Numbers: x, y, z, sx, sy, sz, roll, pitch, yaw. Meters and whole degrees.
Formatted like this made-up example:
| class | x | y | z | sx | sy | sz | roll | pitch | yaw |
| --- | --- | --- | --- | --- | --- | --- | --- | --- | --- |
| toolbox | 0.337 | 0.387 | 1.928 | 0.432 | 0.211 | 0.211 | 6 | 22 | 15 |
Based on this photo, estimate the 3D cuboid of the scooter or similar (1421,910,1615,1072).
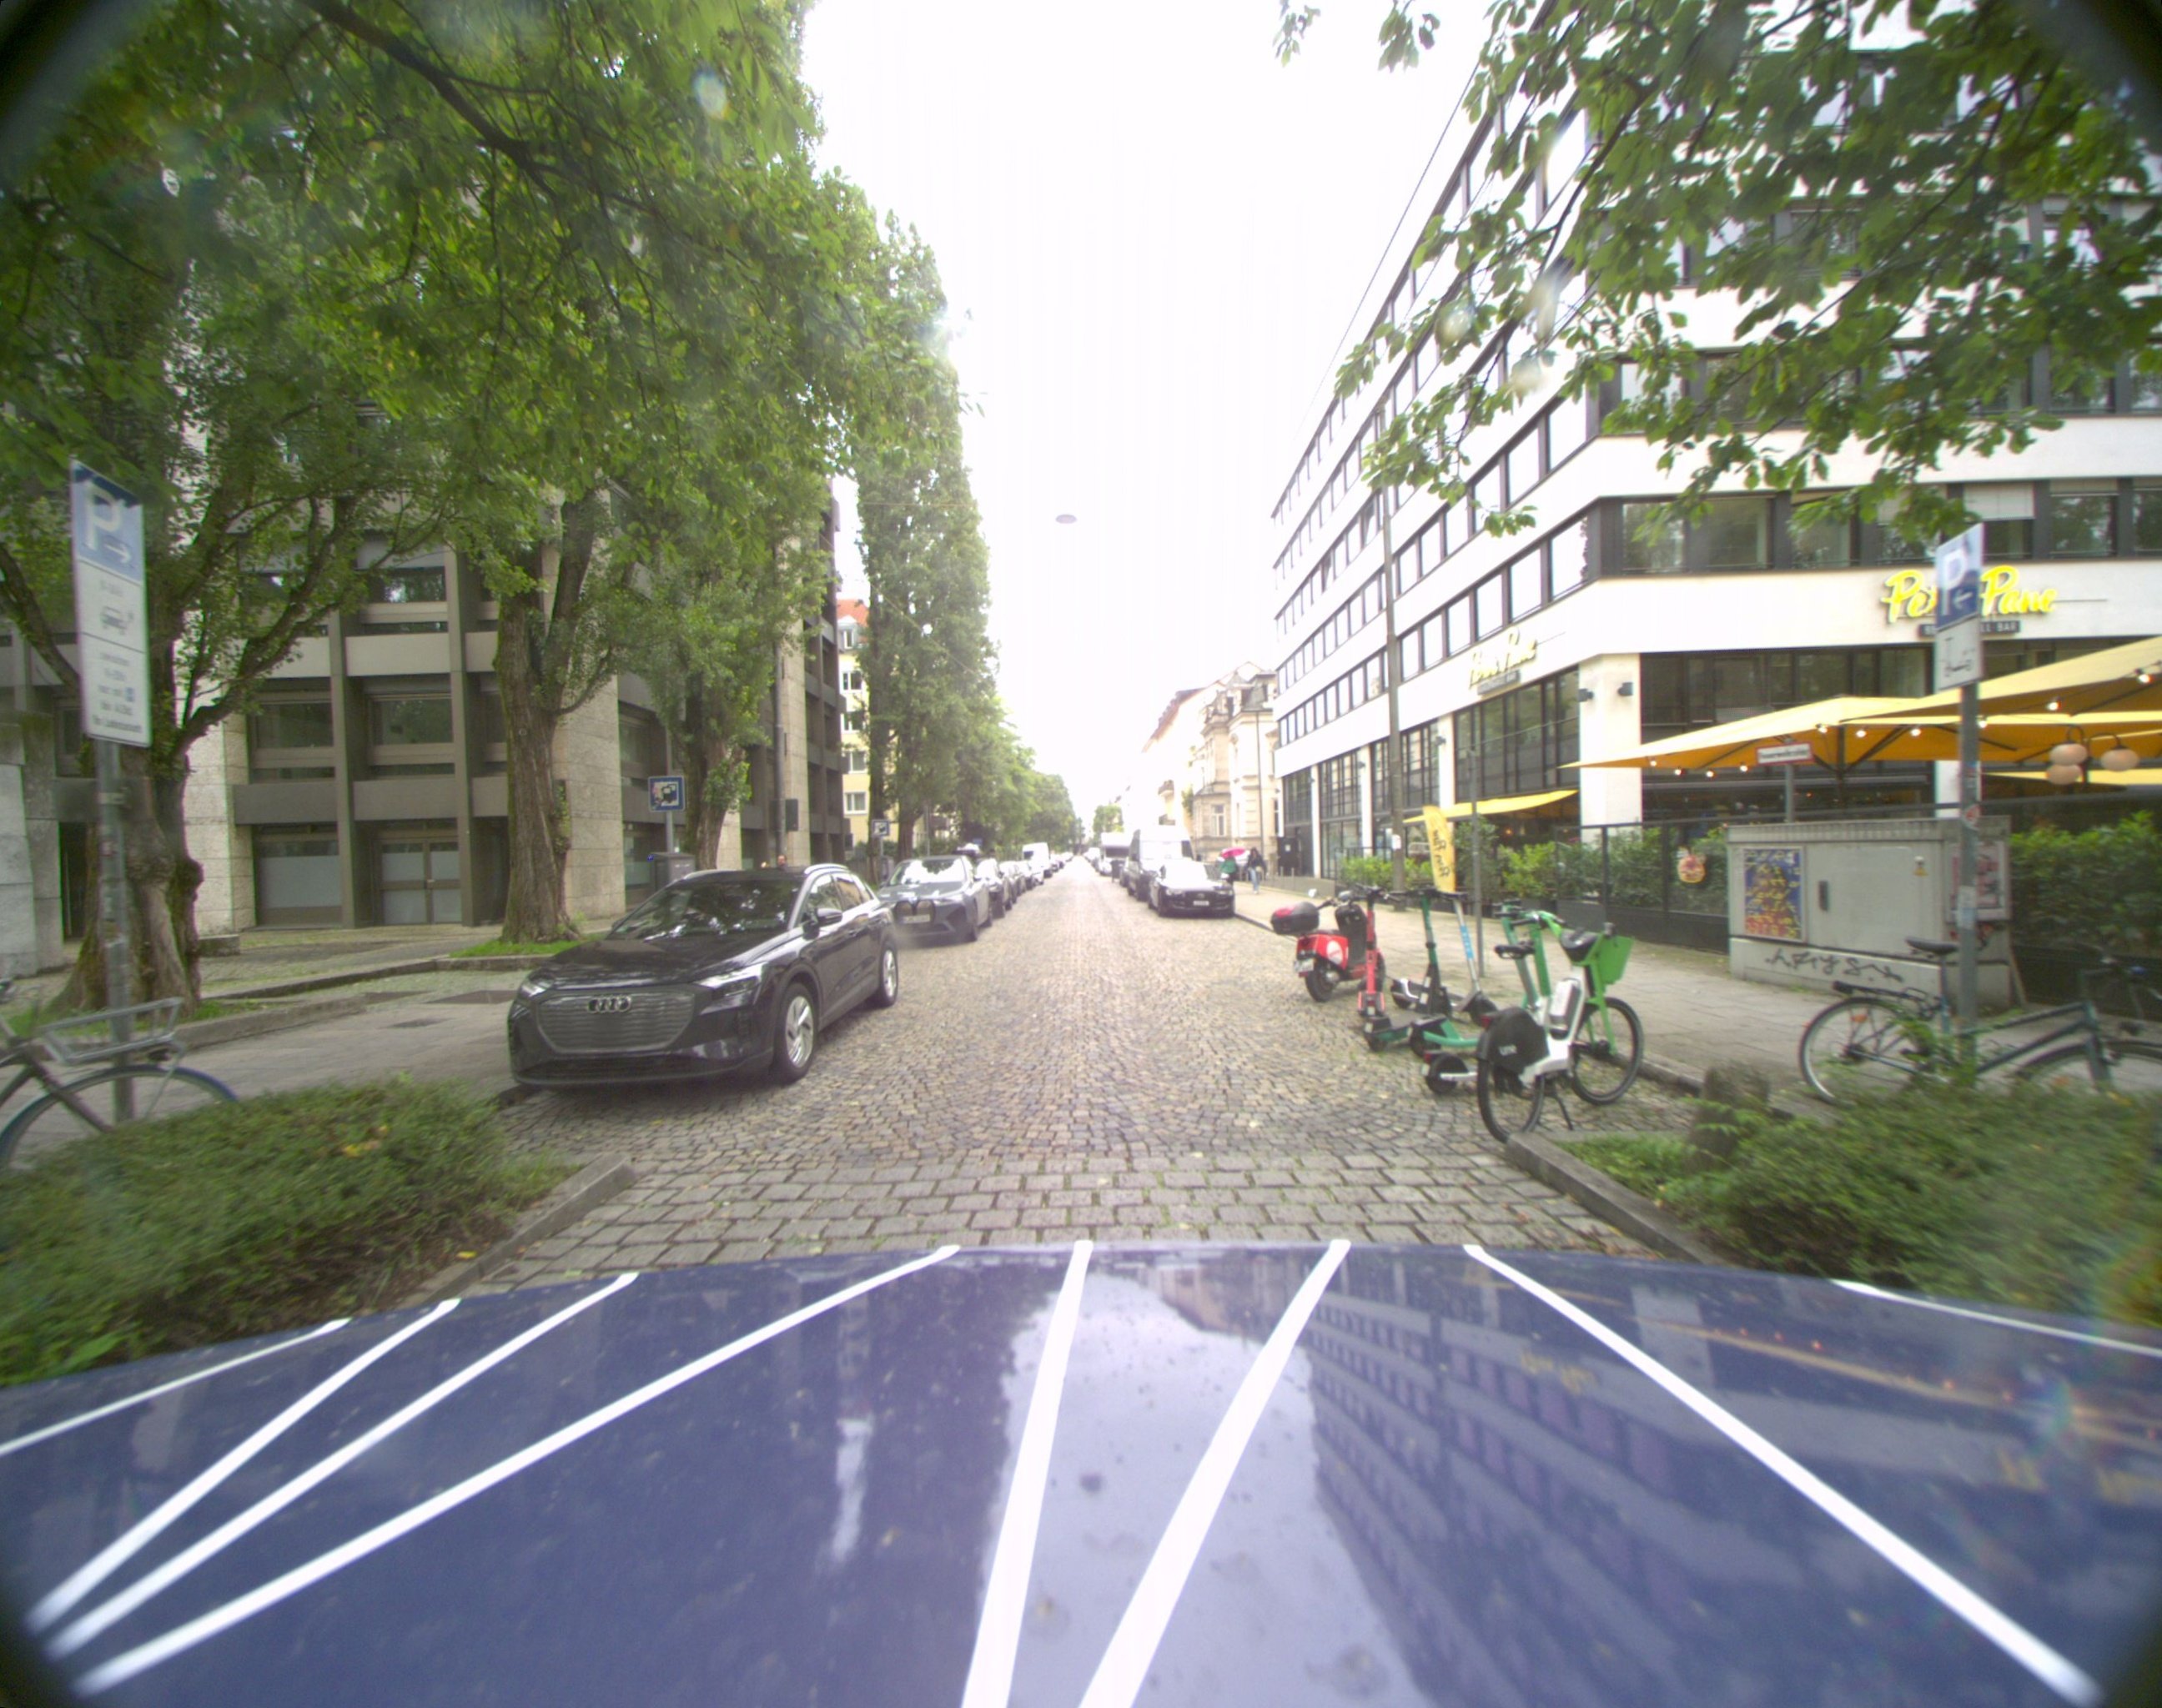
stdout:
| class | x | y | z | sx | sy | sz | roll | pitch | yaw |
| --- | --- | --- | --- | --- | --- | --- | --- | --- | --- |
| scooter or similar | 3.293 | 1.022 | 5.758 | 1.250 | 1.137 | 0.327 | -2 | 1 | 1 |

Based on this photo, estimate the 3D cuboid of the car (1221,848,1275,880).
| class | x | y | z | sx | sy | sz | roll | pitch | yaw |
| --- | --- | --- | --- | --- | --- | --- | --- | --- | --- |
| car | 8.731 | 0.494 | 40.022 | 1.912 | 1.524 | 4.169 | -2 | 0 | 1 |

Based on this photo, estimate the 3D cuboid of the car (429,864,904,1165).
| class | x | y | z | sx | sy | sz | roll | pitch | yaw |
| --- | --- | --- | --- | --- | --- | --- | --- | --- | --- |
| car | -3.048 | 1.021 | 6.810 | 1.925 | 1.690 | 4.200 | -3 | 1 | -1 |

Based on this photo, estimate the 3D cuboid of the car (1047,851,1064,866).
| class | x | y | z | sx | sy | sz | roll | pitch | yaw |
| --- | --- | --- | --- | --- | --- | --- | --- | --- | --- |
| car | -3.151 | 0.568 | 94.406 | 1.999 | 1.680 | 3.872 | -3 | 1 | -2 |

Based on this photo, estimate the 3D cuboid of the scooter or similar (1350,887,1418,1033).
| class | x | y | z | sx | sy | sz | roll | pitch | yaw |
| --- | --- | --- | --- | --- | --- | --- | --- | --- | --- |
| scooter or similar | 3.088 | 1.011 | 7.682 | 0.326 | 1.265 | 1.360 | -1 | 1 | 35 |

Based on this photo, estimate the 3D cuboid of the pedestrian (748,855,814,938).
| class | x | y | z | sx | sy | sz | roll | pitch | yaw |
| --- | --- | --- | --- | --- | --- | --- | --- | --- | --- |
| pedestrian | -6.439 | 0.897 | 16.332 | 0.867 | 1.704 | 0.913 | -1 | 1 | 20 |

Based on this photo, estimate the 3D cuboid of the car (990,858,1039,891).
| class | x | y | z | sx | sy | sz | roll | pitch | yaw |
| --- | --- | --- | --- | --- | --- | --- | --- | --- | --- |
| car | -3.199 | 0.963 | 37.367 | 1.999 | 1.380 | 3.873 | -3 | 1 | 0 |

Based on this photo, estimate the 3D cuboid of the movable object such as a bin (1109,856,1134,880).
| class | x | y | z | sx | sy | sz | roll | pitch | yaw |
| --- | --- | --- | --- | --- | --- | --- | --- | --- | --- |
| movable object such as a bin | 2.276 | 0.782 | 43.264 | 1.255 | 1.290 | 1.174 | -1 | 1 | -4 |

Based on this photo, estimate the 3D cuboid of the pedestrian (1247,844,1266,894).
| class | x | y | z | sx | sy | sz | roll | pitch | yaw |
| --- | --- | --- | --- | --- | --- | --- | --- | --- | --- |
| pedestrian | 6.260 | 0.537 | 27.105 | 0.575 | 1.738 | 0.651 | -2 | 1 | 7 |

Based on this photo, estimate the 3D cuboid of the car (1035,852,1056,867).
| class | x | y | z | sx | sy | sz | roll | pitch | yaw |
| --- | --- | --- | --- | --- | --- | --- | --- | --- | --- |
| car | -3.436 | 0.512 | 73.847 | 1.999 | 1.380 | 3.872 | -3 | 1 | -2 |

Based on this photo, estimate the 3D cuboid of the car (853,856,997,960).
| class | x | y | z | sx | sy | sz | roll | pitch | yaw |
| --- | --- | --- | --- | --- | --- | --- | --- | --- | --- |
| car | -2.991 | 0.948 | 15.666 | 2.018 | 1.690 | 4.672 | -3 | 1 | -1 |

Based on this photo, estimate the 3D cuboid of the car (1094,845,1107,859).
| class | x | y | z | sx | sy | sz | roll | pitch | yaw |
| --- | --- | --- | --- | --- | --- | --- | --- | --- | --- |
| car | 3.647 | -0.377 | 142.237 | 2.088 | 2.418 | 5.609 | -2 | 0 | -1 |

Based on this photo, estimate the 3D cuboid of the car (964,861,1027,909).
| class | x | y | z | sx | sy | sz | roll | pitch | yaw |
| --- | --- | --- | --- | --- | --- | --- | --- | --- | --- |
| car | -3.030 | 1.062 | 27.766 | 1.723 | 1.382 | 4.205 | -5 | 1 | 0 |

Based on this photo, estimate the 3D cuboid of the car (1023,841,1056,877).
| class | x | y | z | sx | sy | sz | roll | pitch | yaw |
| --- | --- | --- | --- | --- | --- | --- | --- | --- | --- |
| car | -2.994 | 0.323 | 55.342 | 2.088 | 2.418 | 5.609 | -3 | 1 | -1 |

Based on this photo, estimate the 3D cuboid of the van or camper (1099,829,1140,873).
| class | x | y | z | sx | sy | sz | roll | pitch | yaw |
| --- | --- | --- | --- | --- | --- | --- | --- | --- | --- |
| van or camper | 2.797 | -0.208 | 57.264 | 2.464 | 3.030 | 7.316 | -2 | 1 | -1 |

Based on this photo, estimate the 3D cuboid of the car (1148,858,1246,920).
| class | x | y | z | sx | sy | sz | roll | pitch | yaw |
| --- | --- | --- | --- | --- | --- | --- | --- | --- | --- |
| car | 2.917 | 0.837 | 19.972 | 1.998 | 1.322 | 4.116 | -2 | 1 | 1 |

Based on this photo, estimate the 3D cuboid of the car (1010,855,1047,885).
| class | x | y | z | sx | sy | sz | roll | pitch | yaw |
| --- | --- | --- | --- | --- | --- | --- | --- | --- | --- |
| car | -2.910 | 0.873 | 42.697 | 1.868 | 1.490 | 3.872 | -3 | 1 | -2 |

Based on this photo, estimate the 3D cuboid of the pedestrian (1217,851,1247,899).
| class | x | y | z | sx | sy | sz | roll | pitch | yaw |
| --- | --- | --- | --- | --- | --- | --- | --- | --- | --- |
| pedestrian | 5.460 | 0.752 | 27.529 | 0.928 | 1.696 | 0.800 | -2 | 1 | 3 |

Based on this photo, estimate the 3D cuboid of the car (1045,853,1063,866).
| class | x | y | z | sx | sy | sz | roll | pitch | yaw |
| --- | --- | --- | --- | --- | --- | --- | --- | --- | --- |
| car | -3.208 | 0.602 | 89.612 | 1.999 | 1.380 | 3.872 | -2 | 1 | -2 |

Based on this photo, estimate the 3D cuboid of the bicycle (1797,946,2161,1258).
| class | x | y | z | sx | sy | sz | roll | pitch | yaw |
| --- | --- | --- | --- | --- | --- | --- | --- | --- | --- |
| bicycle | 4.483 | 1.061 | 3.567 | 0.553 | 1.016 | 1.762 | -2 | 1 | -1 |

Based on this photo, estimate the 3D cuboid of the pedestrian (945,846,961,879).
| class | x | y | z | sx | sy | sz | roll | pitch | yaw |
| --- | --- | --- | --- | --- | --- | --- | --- | --- | --- |
| pedestrian | -6.141 | 0.411 | 36.546 | 0.645 | 1.528 | 0.709 | -2 | 1 | -3 |

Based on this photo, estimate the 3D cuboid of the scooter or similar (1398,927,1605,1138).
| class | x | y | z | sx | sy | sz | roll | pitch | yaw |
| --- | --- | --- | --- | --- | --- | --- | --- | --- | --- |
| scooter or similar | 2.786 | 1.112 | 5.001 | 1.432 | 1.137 | 0.369 | -2 | 1 | -23 |

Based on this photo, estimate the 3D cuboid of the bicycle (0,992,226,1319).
| class | x | y | z | sx | sy | sz | roll | pitch | yaw |
| --- | --- | --- | --- | --- | --- | --- | --- | --- | --- |
| bicycle | -4.440 | 1.231 | 2.684 | 0.475 | 1.130 | 1.877 | -2 | 1 | 9 |

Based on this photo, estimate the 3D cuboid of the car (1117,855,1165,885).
| class | x | y | z | sx | sy | sz | roll | pitch | yaw |
| --- | --- | --- | --- | --- | --- | --- | --- | --- | --- |
| car | 2.936 | 0.758 | 37.967 | 1.999 | 1.380 | 3.999 | -1 | 0 | 0 |

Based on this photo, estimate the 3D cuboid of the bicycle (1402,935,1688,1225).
| class | x | y | z | sx | sy | sz | roll | pitch | yaw |
| --- | --- | --- | --- | --- | --- | --- | --- | --- | --- |
| bicycle | 2.591 | 1.114 | 4.174 | 1.765 | 1.136 | 0.552 | -2 | 1 | -30 |

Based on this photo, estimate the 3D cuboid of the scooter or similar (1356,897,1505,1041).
| class | x | y | z | sx | sy | sz | roll | pitch | yaw |
| --- | --- | --- | --- | --- | --- | --- | --- | --- | --- |
| scooter or similar | 3.249 | 1.023 | 7.157 | 0.390 | 1.173 | 1.248 | -2 | 1 | -31 |

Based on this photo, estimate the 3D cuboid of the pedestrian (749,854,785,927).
| class | x | y | z | sx | sy | sz | roll | pitch | yaw |
| --- | --- | --- | --- | --- | --- | --- | --- | --- | --- |
| pedestrian | -7.156 | 0.815 | 17.331 | 0.489 | 1.619 | 0.568 | -2 | 1 | 4 |

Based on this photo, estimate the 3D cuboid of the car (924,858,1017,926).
| class | x | y | z | sx | sy | sz | roll | pitch | yaw |
| --- | --- | --- | --- | --- | --- | --- | --- | --- | --- |
| car | -2.980 | 0.977 | 21.462 | 1.999 | 1.573 | 4.341 | -2 | 1 | -1 |

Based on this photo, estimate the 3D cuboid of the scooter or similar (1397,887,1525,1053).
| class | x | y | z | sx | sy | sz | roll | pitch | yaw |
| --- | --- | --- | --- | --- | --- | --- | --- | --- | --- |
| scooter or similar | 3.288 | 0.950 | 6.542 | 1.253 | 1.265 | 0.327 | -2 | 1 | -30 |

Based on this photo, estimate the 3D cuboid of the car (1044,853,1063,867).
| class | x | y | z | sx | sy | sz | roll | pitch | yaw |
| --- | --- | --- | --- | --- | --- | --- | --- | --- | --- |
| car | -3.018 | 0.654 | 82.506 | 1.999 | 1.379 | 3.872 | -2 | 1 | -2 |

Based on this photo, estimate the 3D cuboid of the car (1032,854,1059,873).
| class | x | y | z | sx | sy | sz | roll | pitch | yaw |
| --- | --- | --- | --- | --- | --- | --- | --- | --- | --- |
| car | -2.860 | 0.762 | 61.715 | 1.999 | 1.380 | 3.872 | -3 | 1 | -2 |

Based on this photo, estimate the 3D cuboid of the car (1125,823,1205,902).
| class | x | y | z | sx | sy | sz | roll | pitch | yaw |
| --- | --- | --- | --- | --- | --- | --- | --- | --- | --- |
| car | 2.844 | 0.249 | 27.070 | 2.065 | 2.476 | 5.848 | -2 | 1 | -1 |

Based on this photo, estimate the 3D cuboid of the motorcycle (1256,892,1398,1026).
| class | x | y | z | sx | sy | sz | roll | pitch | yaw |
| --- | --- | --- | --- | --- | --- | --- | --- | --- | --- |
| motorcycle | 2.749 | 1.062 | 8.349 | 0.769 | 1.189 | 1.995 | 0 | 1 | 41 |

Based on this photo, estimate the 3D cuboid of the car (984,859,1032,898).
| class | x | y | z | sx | sy | sz | roll | pitch | yaw |
| --- | --- | --- | --- | --- | --- | --- | --- | --- | --- |
| car | -3.080 | 0.989 | 32.612 | 1.605 | 1.422 | 3.562 | -4 | 1 | 0 |
